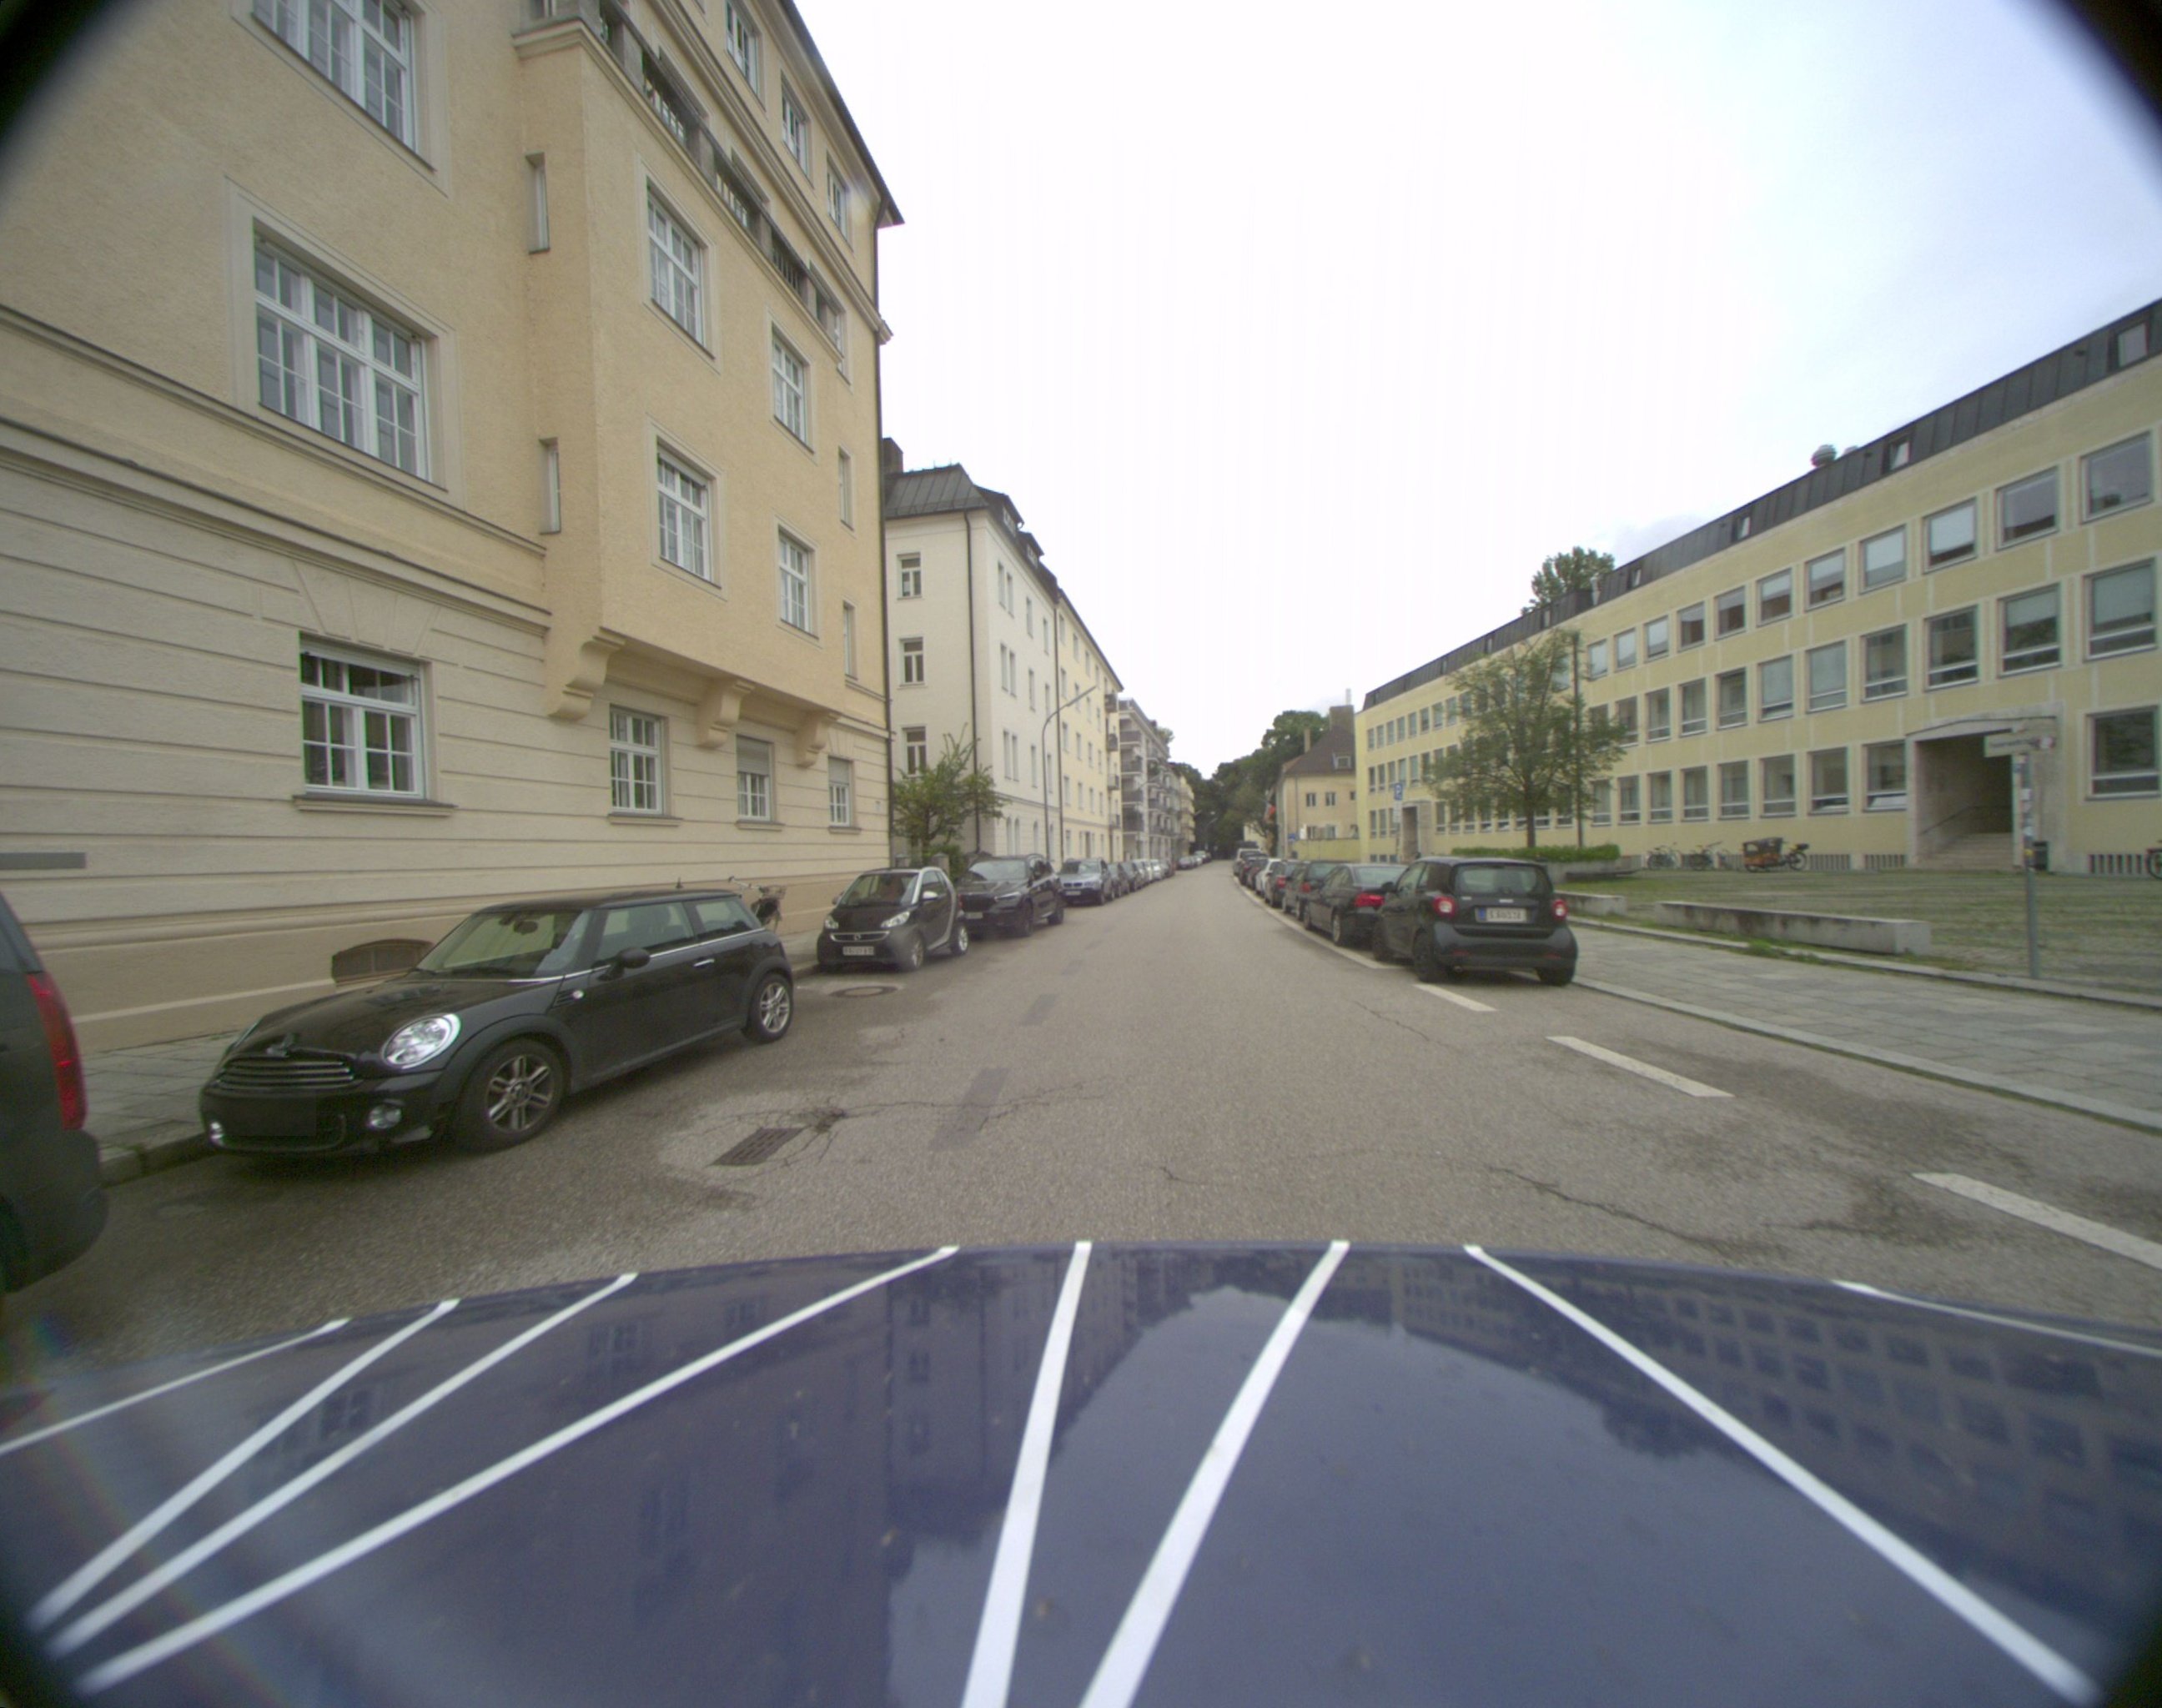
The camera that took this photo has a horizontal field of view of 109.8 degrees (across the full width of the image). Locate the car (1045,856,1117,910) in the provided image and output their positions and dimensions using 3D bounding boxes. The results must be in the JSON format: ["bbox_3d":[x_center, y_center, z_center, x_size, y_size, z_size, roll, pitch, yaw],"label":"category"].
[{"bbox_3d":[0.092,0.949,26.885,1.725,1.625,4.460,-2,0,10],"label":"car"}]

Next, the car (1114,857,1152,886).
[{"bbox_3d":[2.928,0.957,42.185,1.682,1.419,4.169,-2,0,9],"label":"car"}]

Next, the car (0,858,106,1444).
[{"bbox_3d":[-4.343,0.970,0.463,1.782,1.796,4.276,-3,0,3],"label":"car"}]

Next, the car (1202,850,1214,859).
[{"bbox_3d":[22.823,0.069,136.886,1.869,1.455,4.271,-2,0,12],"label":"car"}]

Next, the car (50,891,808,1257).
[{"bbox_3d":[-3.860,1.140,5.493,1.711,1.439,3.833,-3,0,12],"label":"car"}]

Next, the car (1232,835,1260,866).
[{"bbox_3d":[14.725,-0.287,67.651,2.300,2.630,5.658,-1,0,13],"label":"car"}]

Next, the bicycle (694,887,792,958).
[{"bbox_3d":[-5.987,1.185,13.599,0.580,1.076,1.955,1,0,11],"label":"bicycle"}]

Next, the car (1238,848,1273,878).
[{"bbox_3d":[10.229,0.490,44.849,1.746,1.656,4.452,1,1,10],"label":"car"}]

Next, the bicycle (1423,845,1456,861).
[{"bbox_3d":[24.598,-0.050,52.136,1.952,1.008,0.581,-3,1,-6],"label":"bicycle"}]

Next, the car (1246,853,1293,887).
[{"bbox_3d":[8.465,0.685,34.312,1.659,1.445,3.976,0,0,8],"label":"car"}]

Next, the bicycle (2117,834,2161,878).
[{"bbox_3d":[25.910,0.025,17.970,1.951,1.008,0.625,-2,0,0],"label":"bicycle"}]

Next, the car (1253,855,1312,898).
[{"bbox_3d":[7.462,0.790,28.457,1.659,1.445,4.075,0,0,8],"label":"car"}]

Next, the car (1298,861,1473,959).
[{"bbox_3d":[5.226,0.860,13.706,1.802,1.398,4.457,0,0,6],"label":"car"}]

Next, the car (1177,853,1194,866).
[{"bbox_3d":[11.803,0.594,85.598,1.783,1.385,4.249,-2,0,8],"label":"car"}]

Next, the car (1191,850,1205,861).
[{"bbox_3d":[16.451,0.235,106.764,1.765,1.448,3.750,-2,0,11],"label":"car"}]

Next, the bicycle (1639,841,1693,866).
[{"bbox_3d":[25.487,-0.005,33.102,1.952,1.008,0.625,-2,0,-6],"label":"bicycle"}]

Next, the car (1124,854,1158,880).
[{"bbox_3d":[3.798,0.784,47.562,1.682,1.473,4.169,-2,0,9],"label":"car"}]

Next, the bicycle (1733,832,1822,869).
[{"bbox_3d":[25.745,-0.139,28.097,2.442,1.241,1.056,-2,0,-6],"label":"bicycle"}]

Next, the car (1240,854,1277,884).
[{"bbox_3d":[9.182,0.727,39.588,1.683,1.445,3.872,0,0,10],"label":"car"}]

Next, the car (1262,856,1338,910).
[{"bbox_3d":[6.586,0.804,23.217,1.758,1.445,4.399,0,0,10],"label":"car"}]

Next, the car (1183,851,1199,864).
[{"bbox_3d":[13.808,0.441,94.862,1.765,1.448,3.750,-2,0,11],"label":"car"}]

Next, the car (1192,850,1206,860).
[{"bbox_3d":[17.587,0.131,113.157,1.764,1.448,3.751,-2,0,14],"label":"car"}]

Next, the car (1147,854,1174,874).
[{"bbox_3d":[6.037,0.735,57.381,1.682,1.402,4.425,-2,0,10],"label":"car"}]

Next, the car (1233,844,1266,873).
[{"bbox_3d":[12.055,0.259,54.727,1.932,1.967,5.025,-1,1,8],"label":"car"}]

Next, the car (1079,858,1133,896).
[{"bbox_3d":[1.122,0.924,32.418,1.682,1.419,4.090,-2,0,10],"label":"car"}]

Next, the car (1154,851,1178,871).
[{"bbox_3d":[7.019,0.556,62.698,1.682,1.489,3.826,-2,0,10],"label":"car"}]

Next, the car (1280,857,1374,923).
[{"bbox_3d":[5.970,0.812,18.754,1.659,1.445,3.314,0,0,8],"label":"car"}]

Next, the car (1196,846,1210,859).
[{"bbox_3d":[19.474,-0.299,121.438,1.869,2.002,4.271,-2,0,12],"label":"car"}]

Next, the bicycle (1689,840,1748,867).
[{"bbox_3d":[25.783,-0.027,30.728,1.952,1.008,0.625,-2,0,-6],"label":"bicycle"}]

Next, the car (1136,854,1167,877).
[{"bbox_3d":[4.903,0.744,52.166,1.682,1.402,4.446,-2,0,10],"label":"car"}]

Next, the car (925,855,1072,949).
[{"bbox_3d":[-1.668,0.957,17.341,1.872,1.707,4.869,-3,0,11],"label":"car"}]

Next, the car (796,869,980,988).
[{"bbox_3d":[-2.920,1.087,12.151,1.537,1.515,3.113,-3,0,12],"label":"car"}]

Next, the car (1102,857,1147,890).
[{"bbox_3d":[2.192,0.901,37.389,1.682,1.419,4.394,-2,0,9],"label":"car"}]

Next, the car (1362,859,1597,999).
[{"bbox_3d":[4.911,0.829,9.827,1.673,1.493,2.979,0,0,5],"label":"car"}]
